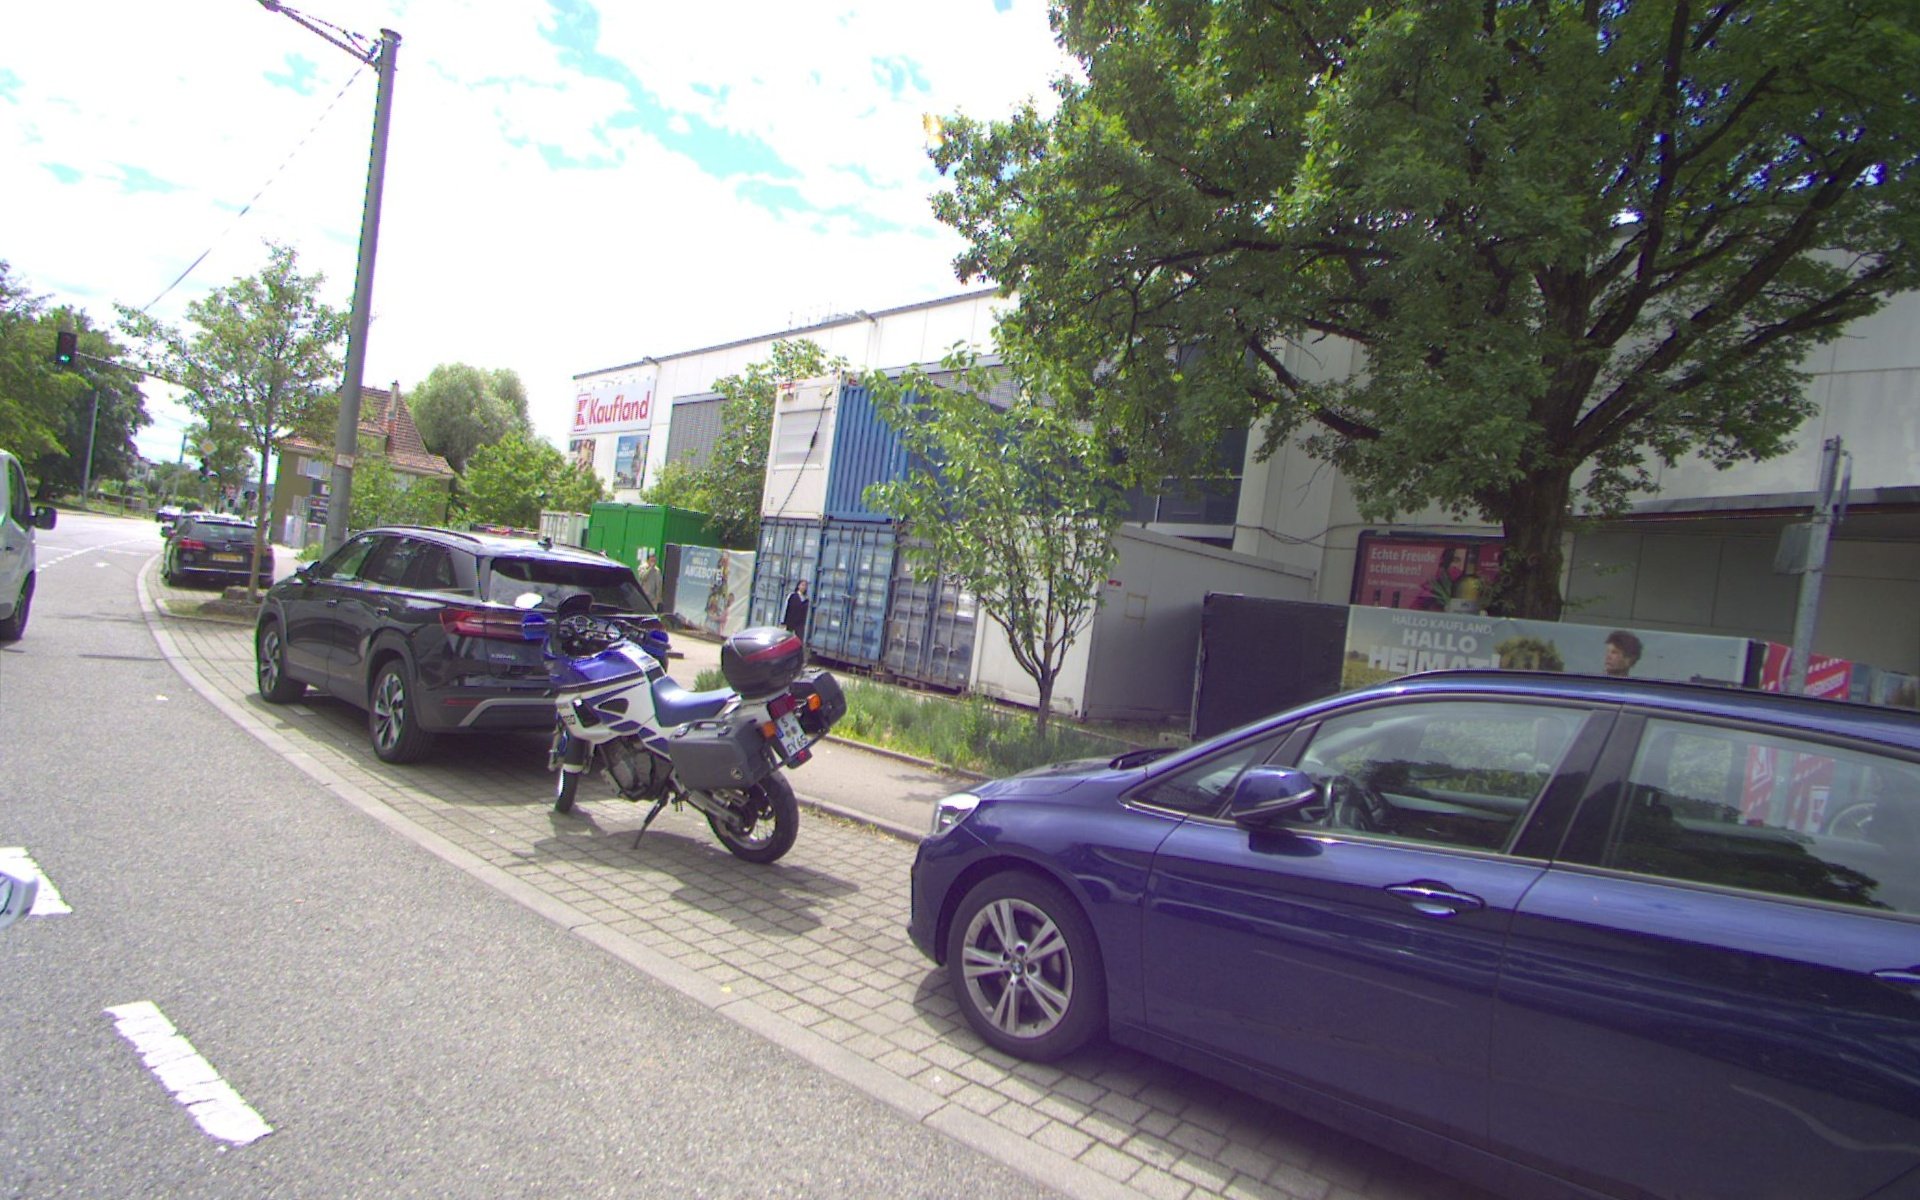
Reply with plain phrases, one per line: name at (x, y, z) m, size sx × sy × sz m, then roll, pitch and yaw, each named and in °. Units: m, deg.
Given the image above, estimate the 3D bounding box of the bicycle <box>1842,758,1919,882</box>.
bicycle at (9.468, 2.168, 9.378) m, size 1.777 × 1.053 × 0.518 m, roll 7°, pitch 1°, yaw 43°

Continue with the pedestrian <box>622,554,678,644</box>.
pedestrian at (-6.250, -0.022, 20.288) m, size 0.648 × 1.717 × 0.716 m, roll 7°, pitch 0°, yaw -42°

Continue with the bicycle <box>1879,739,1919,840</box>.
bicycle at (12.242, 2.393, 11.875) m, size 0.526 × 1.169 × 1.894 m, roll 7°, pitch -1°, yaw -37°

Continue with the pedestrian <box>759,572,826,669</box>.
pedestrian at (-3.046, 0.378, 18.269) m, size 0.740 × 1.637 × 0.758 m, roll 7°, pitch 0°, yaw -42°

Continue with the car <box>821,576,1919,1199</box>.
car at (1.801, 0.956, 3.421) m, size 4.364 × 1.598 × 1.915 m, roll 7°, pitch 1°, yaw 38°

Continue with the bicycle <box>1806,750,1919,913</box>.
bicycle at (7.952, 1.936, 7.959) m, size 0.446 × 1.169 × 1.777 m, roll 7°, pitch -1°, yaw -29°

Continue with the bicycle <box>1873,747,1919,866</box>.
bicycle at (10.386, 2.208, 10.115) m, size 0.423 × 1.169 × 1.643 m, roll 7°, pitch -1°, yaw -40°

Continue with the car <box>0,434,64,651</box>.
car at (-9.314, -0.597, 8.344) m, size 1.928 × 1.983 × 4.789 m, roll 10°, pitch -2°, yaw -34°

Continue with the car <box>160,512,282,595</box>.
car at (-16.337, -1.065, 22.134) m, size 1.756 × 1.496 × 4.879 m, roll 4°, pitch 1°, yaw -41°

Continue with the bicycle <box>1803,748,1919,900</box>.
bicycle at (8.562, 2.032, 8.730) m, size 0.495 × 1.169 × 1.762 m, roll 7°, pitch -1°, yaw -25°

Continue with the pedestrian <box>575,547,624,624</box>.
pedestrian at (-8.603, -0.351, 24.000) m, size 0.649 × 1.718 × 0.835 m, roll 7°, pitch 0°, yaw -42°

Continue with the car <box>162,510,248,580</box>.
car at (-19.499, -1.442, 25.952) m, size 1.560 × 1.512 × 3.957 m, roll 6°, pitch 0°, yaw -38°

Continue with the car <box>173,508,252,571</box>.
car at (-22.710, -1.859, 30.491) m, size 1.727 × 1.637 × 4.340 m, roll 4°, pitch 1°, yaw -39°

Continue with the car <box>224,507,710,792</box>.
car at (-4.355, 0.227, 8.458) m, size 4.778 × 1.642 × 1.875 m, roll 7°, pitch 1°, yaw 41°

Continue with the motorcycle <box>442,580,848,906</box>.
motorcycle at (-1.847, 0.667, 5.703) m, size 2.227 × 1.323 × 1.069 m, roll 7°, pitch 2°, yaw 39°

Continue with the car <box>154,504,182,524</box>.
car at (-73.482, -7.984, 93.354) m, size 1.824 × 1.637 × 4.108 m, roll 6°, pitch 1°, yaw -38°

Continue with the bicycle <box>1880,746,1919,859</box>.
bicycle at (10.909, 2.267, 10.536) m, size 0.437 × 1.169 × 1.747 m, roll 7°, pitch -1°, yaw -41°
